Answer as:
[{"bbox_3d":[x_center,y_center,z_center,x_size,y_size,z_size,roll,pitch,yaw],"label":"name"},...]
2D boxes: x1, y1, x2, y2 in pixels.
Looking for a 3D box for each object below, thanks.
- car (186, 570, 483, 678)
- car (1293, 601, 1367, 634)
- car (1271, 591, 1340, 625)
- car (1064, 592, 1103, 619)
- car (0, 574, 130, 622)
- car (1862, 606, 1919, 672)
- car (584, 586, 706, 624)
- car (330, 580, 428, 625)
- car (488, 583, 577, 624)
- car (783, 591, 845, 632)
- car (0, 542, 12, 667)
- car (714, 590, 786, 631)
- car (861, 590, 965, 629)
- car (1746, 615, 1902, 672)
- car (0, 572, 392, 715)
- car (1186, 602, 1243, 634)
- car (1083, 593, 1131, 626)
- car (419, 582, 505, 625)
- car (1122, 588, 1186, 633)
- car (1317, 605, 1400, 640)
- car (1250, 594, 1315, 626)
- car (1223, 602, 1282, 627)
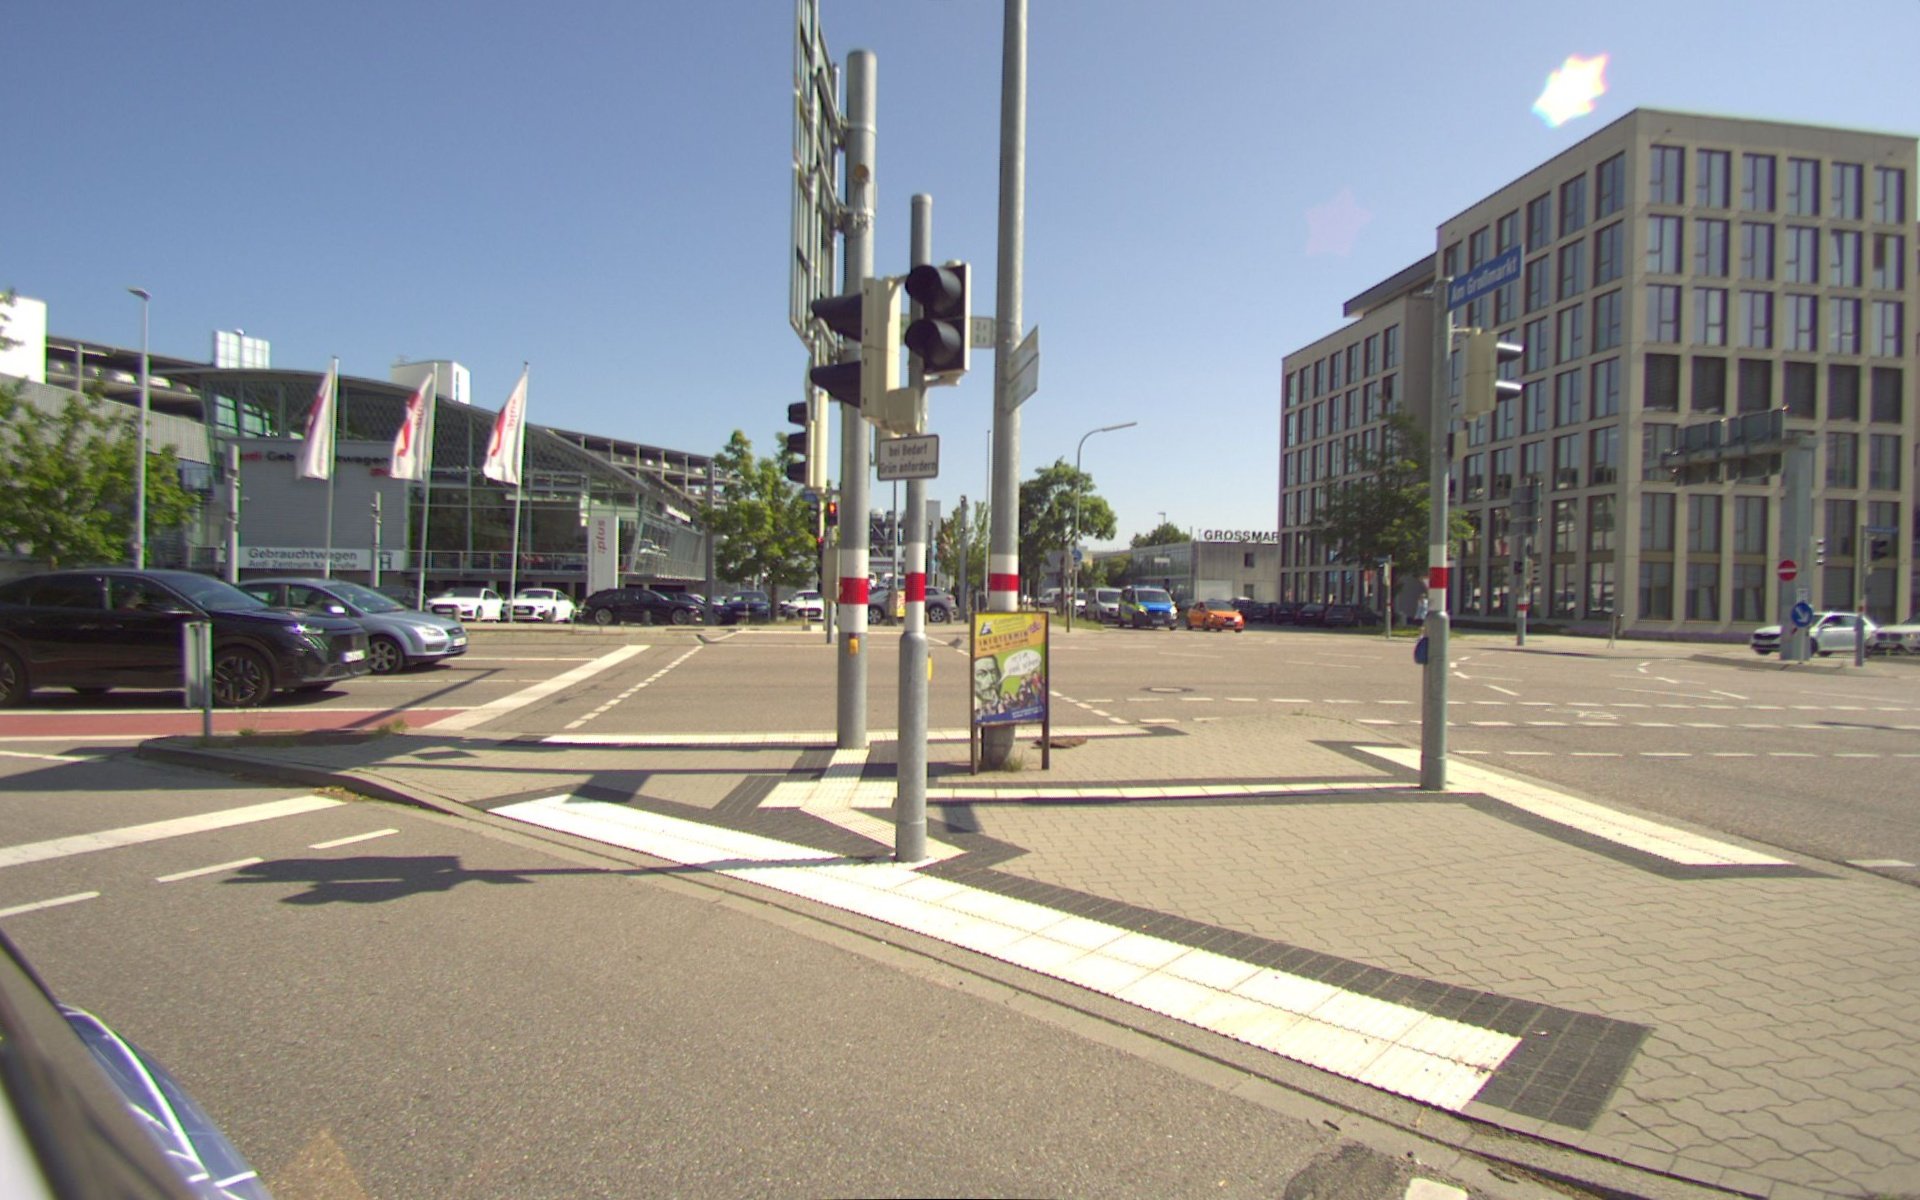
[{"bbox_3d":[-10.087,0.360,16.519,3.777,1.625,1.760,1,1,1],"label":"car"},{"bbox_3d":[22.169,1.036,60.710,3.964,1.840,1.990,1,0,16],"label":"car"},{"bbox_3d":[21.933,0.524,64.417,3.964,2.029,1.990,1,0,16],"label":"car"},{"bbox_3d":[7.338,0.325,60.262,1.889,1.504,3.864,1,1,1],"label":"car"},{"bbox_3d":[-31.849,-0.070,36.032,1.758,1.585,3.895,1,0,-8],"label":"car"},{"bbox_3d":[29.324,1.141,29.664,4.242,1.851,2.031,1,1,-9],"label":"car"},{"bbox_3d":[-12.165,0.200,39.317,4.283,1.360,1.824,1,0,-7],"label":"car"},{"bbox_3d":[-21.560,0.096,37.726,1.858,1.558,3.895,1,0,-8],"label":"car"},{"bbox_3d":[-16.005,0.143,38.104,1.974,1.432,4.119,1,0,-6],"label":"car"},{"bbox_3d":[-5.630,0.406,39.414,1.862,1.471,4.001,1,1,-1],"label":"car"},{"bbox_3d":[-17.846,0.048,15.403,4.922,2.022,1.744,1,1,-7],"label":"car"},{"bbox_3d":[-8.023,0.397,39.038,1.972,1.472,4.000,1,0,-1],"label":"car"},{"bbox_3d":[-2.097,0.401,44.240,4.414,1.599,1.982,1,0,-4],"label":"car"},{"bbox_3d":[27.732,1.380,32.527,3.704,1.725,1.838,1,1,-11],"label":"car"},{"bbox_3d":[-9.793,0.474,12.585,4.433,1.639,1.718,0,1,-7],"label":"car"},{"bbox_3d":[11.481,0.779,45.881,1.717,1.374,3.862,1,0,3],"label":"car"},{"bbox_3d":[7.568,0.454,52.424,1.643,1.568,3.858,1,1,-4],"label":"car"},{"bbox_3d":[-18.483,0.119,37.756,1.758,1.481,3.895,1,0,-8],"label":"car"},{"bbox_3d":[8.708,0.456,45.899,2.158,1.923,4.726,1,0,3],"label":"car"},{"bbox_3d":[22.600,1.276,57.528,3.955,1.751,1.994,2,1,9],"label":"car"},{"bbox_3d":[21.488,0.669,67.547,3.964,2.029,1.990,1,0,16],"label":"car"},{"bbox_3d":[20.628,1.000,71.536,3.964,1.626,1.990,1,0,16],"label":"car"}]
